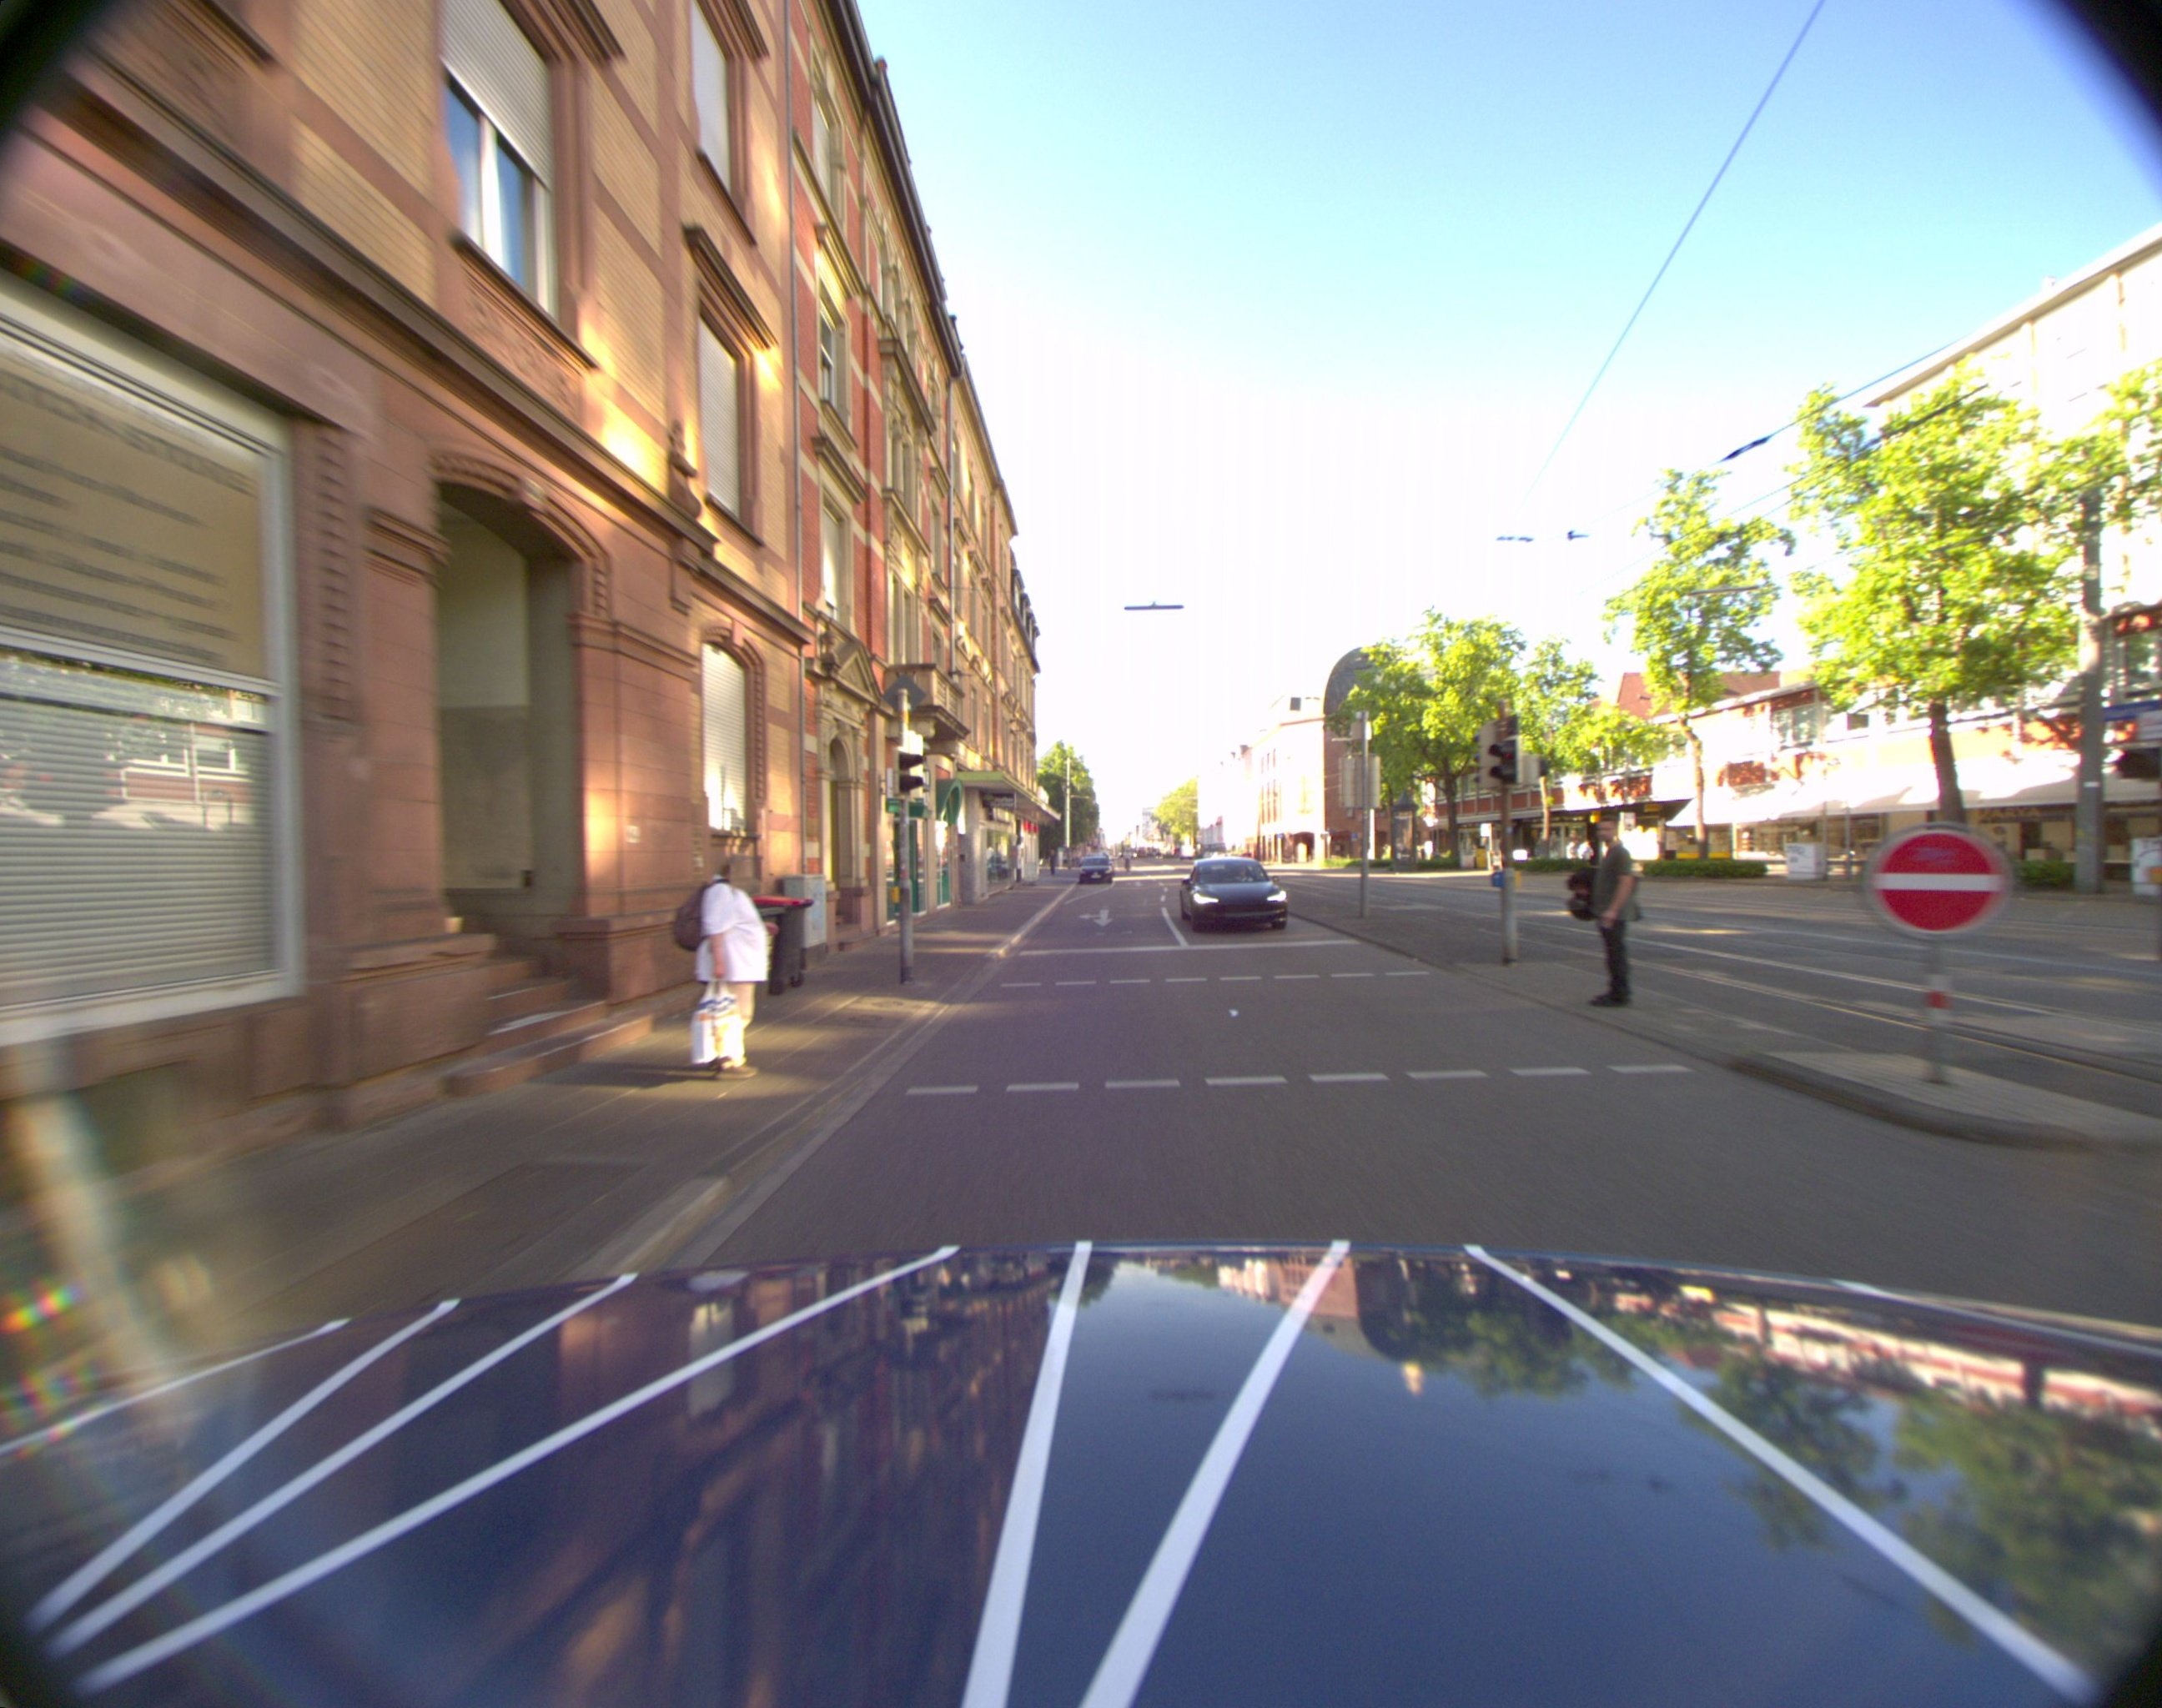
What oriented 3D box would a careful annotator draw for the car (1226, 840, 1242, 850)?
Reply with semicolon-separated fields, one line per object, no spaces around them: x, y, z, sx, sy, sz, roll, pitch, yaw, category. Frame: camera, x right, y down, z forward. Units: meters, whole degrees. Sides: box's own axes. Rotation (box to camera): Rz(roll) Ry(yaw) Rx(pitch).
23.386;-1.430;116.045;1.855;1.445;3.853;-2;1;3;car

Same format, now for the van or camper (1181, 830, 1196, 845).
20.061;-2.995;141.822;2.041;2.723;7.020;0;1;2;van or camper

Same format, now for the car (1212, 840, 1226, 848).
24.027;-1.767;132.331;1.855;1.445;3.853;-2;1;3;car

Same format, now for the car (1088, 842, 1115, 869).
1.433;0.046;53.304;1.694;1.703;4.615;-3;1;2;car

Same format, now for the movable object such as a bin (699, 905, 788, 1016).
-3.568;1.113;8.068;0.664;1.066;0.545;2;2;5;movable object such as a bin

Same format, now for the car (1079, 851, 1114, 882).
0.886;0.648;41.237;1.694;1.442;4.359;-3;1;2;car

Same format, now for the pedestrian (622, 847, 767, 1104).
-2.583;0.758;5.167;0.683;1.598;0.730;-1;2;-13;pedestrian

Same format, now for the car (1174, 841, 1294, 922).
3.099;0.474;16.227;1.815;1.416;4.153;-3;1;2;car

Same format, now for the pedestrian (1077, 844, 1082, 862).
-0.163;-0.093;87.242;0.507;2.003;0.574;-3;3;3;pedestrian

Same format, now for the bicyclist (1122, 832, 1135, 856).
3.615;-0.760;58.191;0.895;1.756;1.030;-3;2;3;bicyclist

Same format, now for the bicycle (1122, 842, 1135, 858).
3.631;-0.303;58.235;0.889;1.155;2.078;-3;2;3;bicycle

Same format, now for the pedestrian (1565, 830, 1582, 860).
29.799;-0.543;46.001;0.573;1.762;0.706;-1;2;4;pedestrian

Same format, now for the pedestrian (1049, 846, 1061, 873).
-1.885;0.387;55.747;0.685;1.901;1.063;-2;2;5;pedestrian

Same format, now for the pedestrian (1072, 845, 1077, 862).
-0.747;-0.057;87.291;0.507;2.003;0.574;-3;3;3;pedestrian

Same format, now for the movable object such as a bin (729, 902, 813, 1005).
-3.517;1.114;8.649;0.664;1.066;0.591;2;2;5;movable object such as a bin

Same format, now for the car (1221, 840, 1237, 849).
23.527;-1.461;120.974;1.855;1.346;3.853;-2;1;3;car

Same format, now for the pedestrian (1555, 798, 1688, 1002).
4.945;0.393;7.010;0.559;1.753;0.895;1;1;2;pedestrian

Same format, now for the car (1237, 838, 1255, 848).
23.033;-1.533;106.208;1.753;1.445;3.471;-2;1;1;car

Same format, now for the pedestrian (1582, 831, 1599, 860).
30.811;-0.534;45.921;0.573;1.740;0.706;-1;2;4;pedestrian
